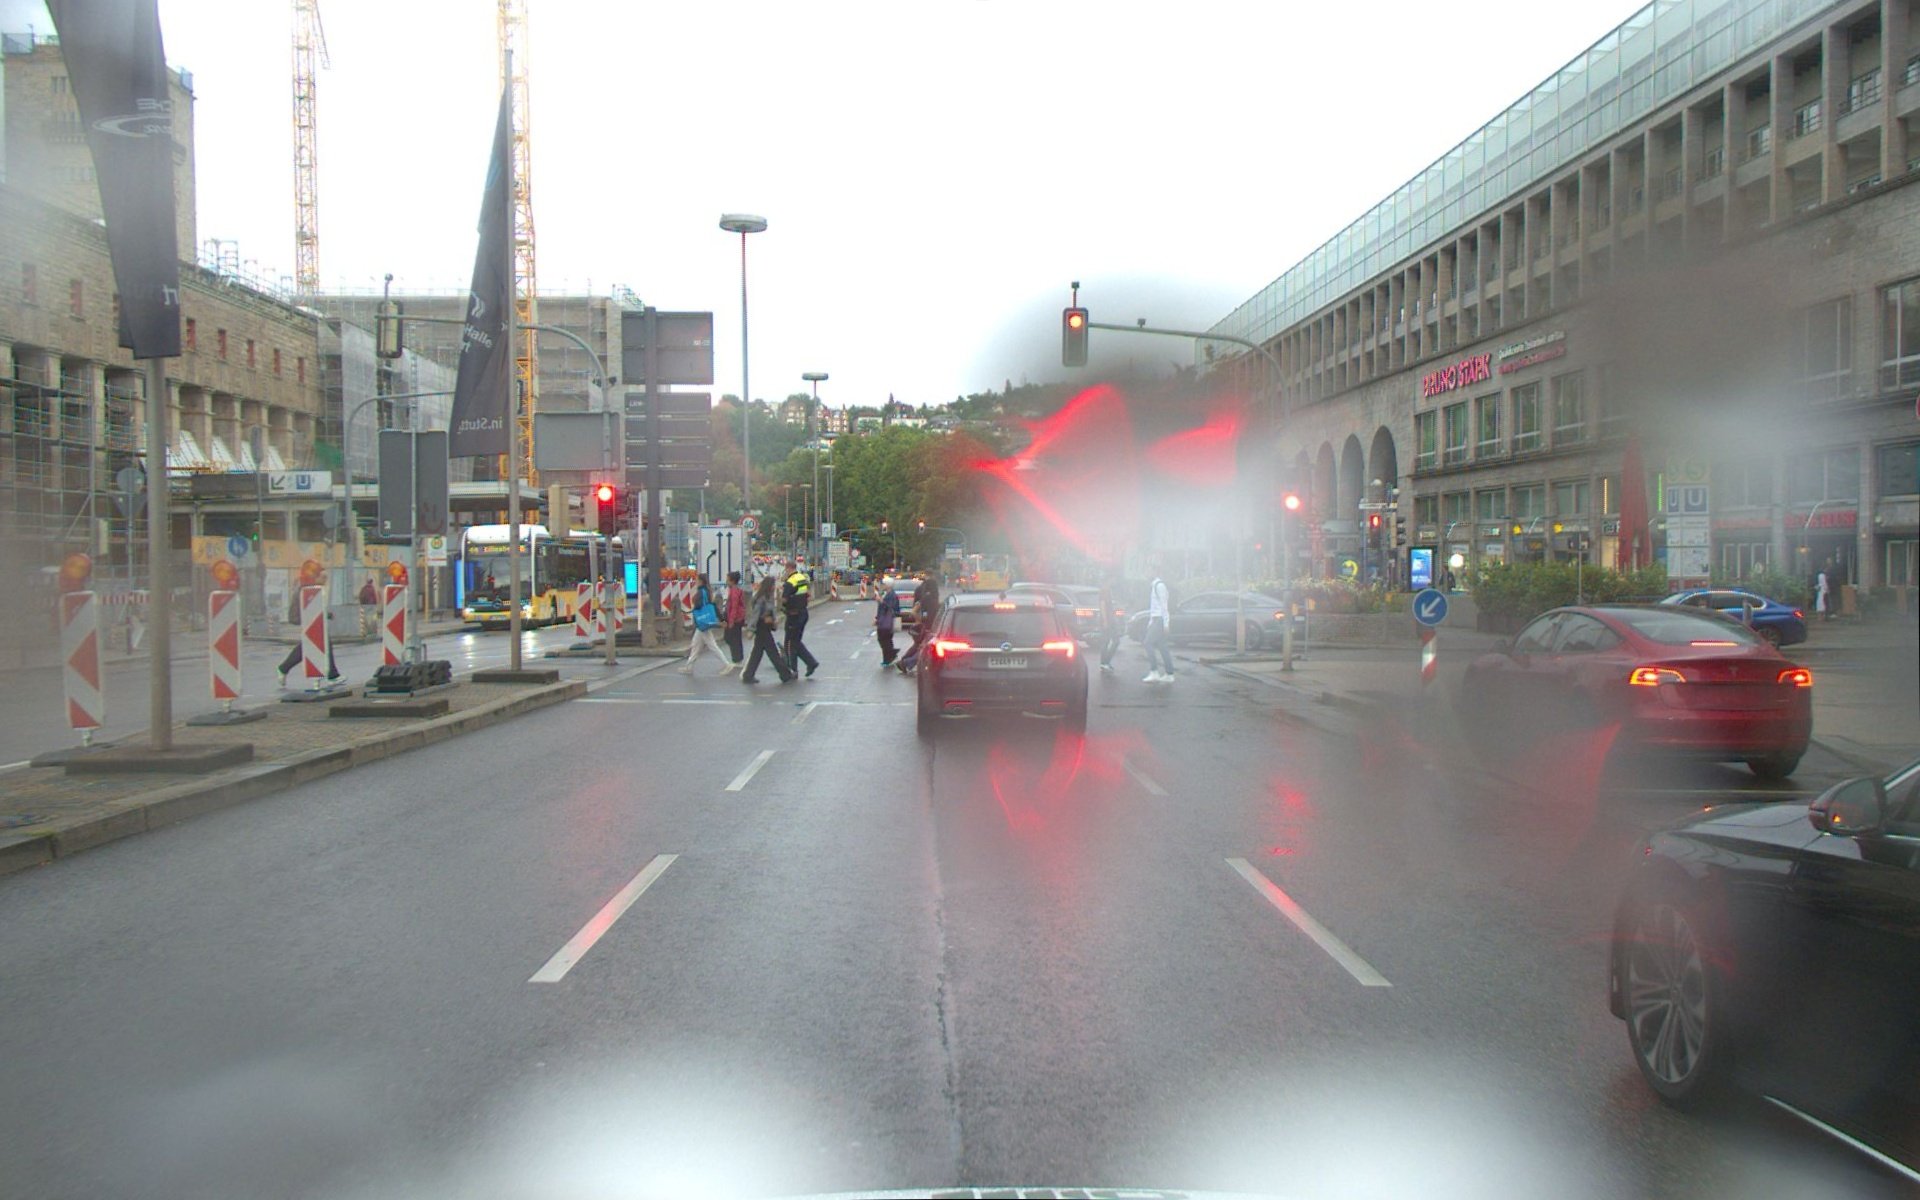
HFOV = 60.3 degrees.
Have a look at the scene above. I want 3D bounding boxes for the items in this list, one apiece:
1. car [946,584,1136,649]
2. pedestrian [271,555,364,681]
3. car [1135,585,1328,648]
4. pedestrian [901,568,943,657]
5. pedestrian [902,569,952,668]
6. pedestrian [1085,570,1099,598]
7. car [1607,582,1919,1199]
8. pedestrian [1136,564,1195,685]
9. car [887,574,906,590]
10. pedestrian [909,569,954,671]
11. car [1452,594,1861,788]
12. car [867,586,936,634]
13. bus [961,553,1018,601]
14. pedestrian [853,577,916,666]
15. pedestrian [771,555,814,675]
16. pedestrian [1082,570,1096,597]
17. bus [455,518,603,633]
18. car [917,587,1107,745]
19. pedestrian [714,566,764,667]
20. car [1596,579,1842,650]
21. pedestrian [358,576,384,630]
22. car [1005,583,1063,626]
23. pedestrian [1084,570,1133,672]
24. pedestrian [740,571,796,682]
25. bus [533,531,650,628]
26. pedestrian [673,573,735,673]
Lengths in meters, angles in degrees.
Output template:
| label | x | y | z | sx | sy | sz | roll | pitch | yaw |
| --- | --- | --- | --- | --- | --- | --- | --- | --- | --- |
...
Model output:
| label | x | y | z | sx | sy | sz | roll | pitch | yaw |
| --- | --- | --- | --- | --- | --- | --- | --- | --- | --- |
| car | 1.908 | 0.373 | 39.711 | 4.456 | 1.422 | 1.749 | 1 | 0 | 41 |
| pedestrian | -9.431 | 0.259 | 24.302 | 1.074 | 1.782 | 0.653 | -2 | 0 | -3 |
| car | 6.575 | 0.386 | 40.235 | 4.311 | 1.422 | 1.753 | 1 | 0 | 34 |
| pedestrian | -0.648 | 0.209 | 28.296 | 0.665 | 1.500 | 0.366 | 1 | 0 | -5 |
| pedestrian | -0.554 | 0.305 | 27.788 | 0.783 | 1.636 | 0.619 | 1 | 0 | -4 |
| pedestrian | 8.379 | -1.021 | 105.038 | 0.748 | 1.720 | 0.824 | 1 | 0 | -5 |
| car | 3.056 | 0.739 | 3.212 | 1.757 | 1.528 | 4.628 | 1 | 0 | 0 |
| pedestrian | 3.325 | 0.389 | 26.776 | 0.784 | 1.923 | 0.619 | 1 | 0 | -9 |
| car | -6.065 | -1.692 | 158.452 | 1.723 | 1.422 | 3.563 | 1 | 0 | -1 |
| pedestrian | -0.502 | 0.349 | 28.735 | 0.740 | 1.747 | 0.466 | 1 | 0 | -4 |
| car | 6.237 | 0.725 | 15.459 | 1.836 | 1.512 | 4.525 | 1 | 0 | -1 |
| car | -1.891 | 0.302 | 52.225 | 1.720 | 1.422 | 4.530 | 1 | 0 | -8 |
| bus | 2.232 | -1.743 | 131.443 | 4.088 | 3.529 | 14.652 | 1 | 0 | -1 |
| pedestrian | -1.369 | 0.387 | 30.168 | 0.770 | 1.588 | 0.873 | 1 | 0 | 31 |
| pedestrian | -2.664 | 0.230 | 26.341 | 0.566 | 1.868 | 0.820 | 1 | 0 | -1 |
| pedestrian | 8.250 | -1.043 | 105.935 | 0.748 | 1.720 | 0.824 | 1 | 0 | -5 |
| bus | -15.077 | -0.787 | 58.740 | 2.614 | 3.665 | 10.238 | 1 | 0 | 0 |
| car | 0.477 | 0.647 | 18.164 | 1.836 | 1.512 | 3.999 | 1 | 0 | -1 |
| pedestrian | -3.920 | 0.284 | 29.378 | 0.783 | 1.747 | 0.619 | -1 | 0 | -4 |
| car | 16.475 | 0.294 | 36.082 | 4.535 | 1.422 | 1.760 | 1 | 0 | 8 |
| pedestrian | -20.784 | 0.091 | 58.368 | 0.648 | 1.887 | 0.798 | 0 | 0 | -1 |
| car | 2.568 | 0.151 | 58.034 | 1.808 | 1.422 | 3.563 | 1 | 0 | -1 |
| pedestrian | 2.644 | 0.374 | 29.481 | 0.560 | 1.783 | 0.676 | 1 | 0 | 42 |
| pedestrian | -2.930 | 0.394 | 25.282 | 0.778 | 1.654 | 0.899 | 1 | 0 | -4 |
| bus | -15.180 | -0.788 | 68.924 | 2.614 | 3.665 | 10.210 | 1 | 0 | 0 |
| pedestrian | -4.160 | 0.371 | 26.926 | 0.897 | 1.591 | 0.899 | 1 | 0 | -4 |
